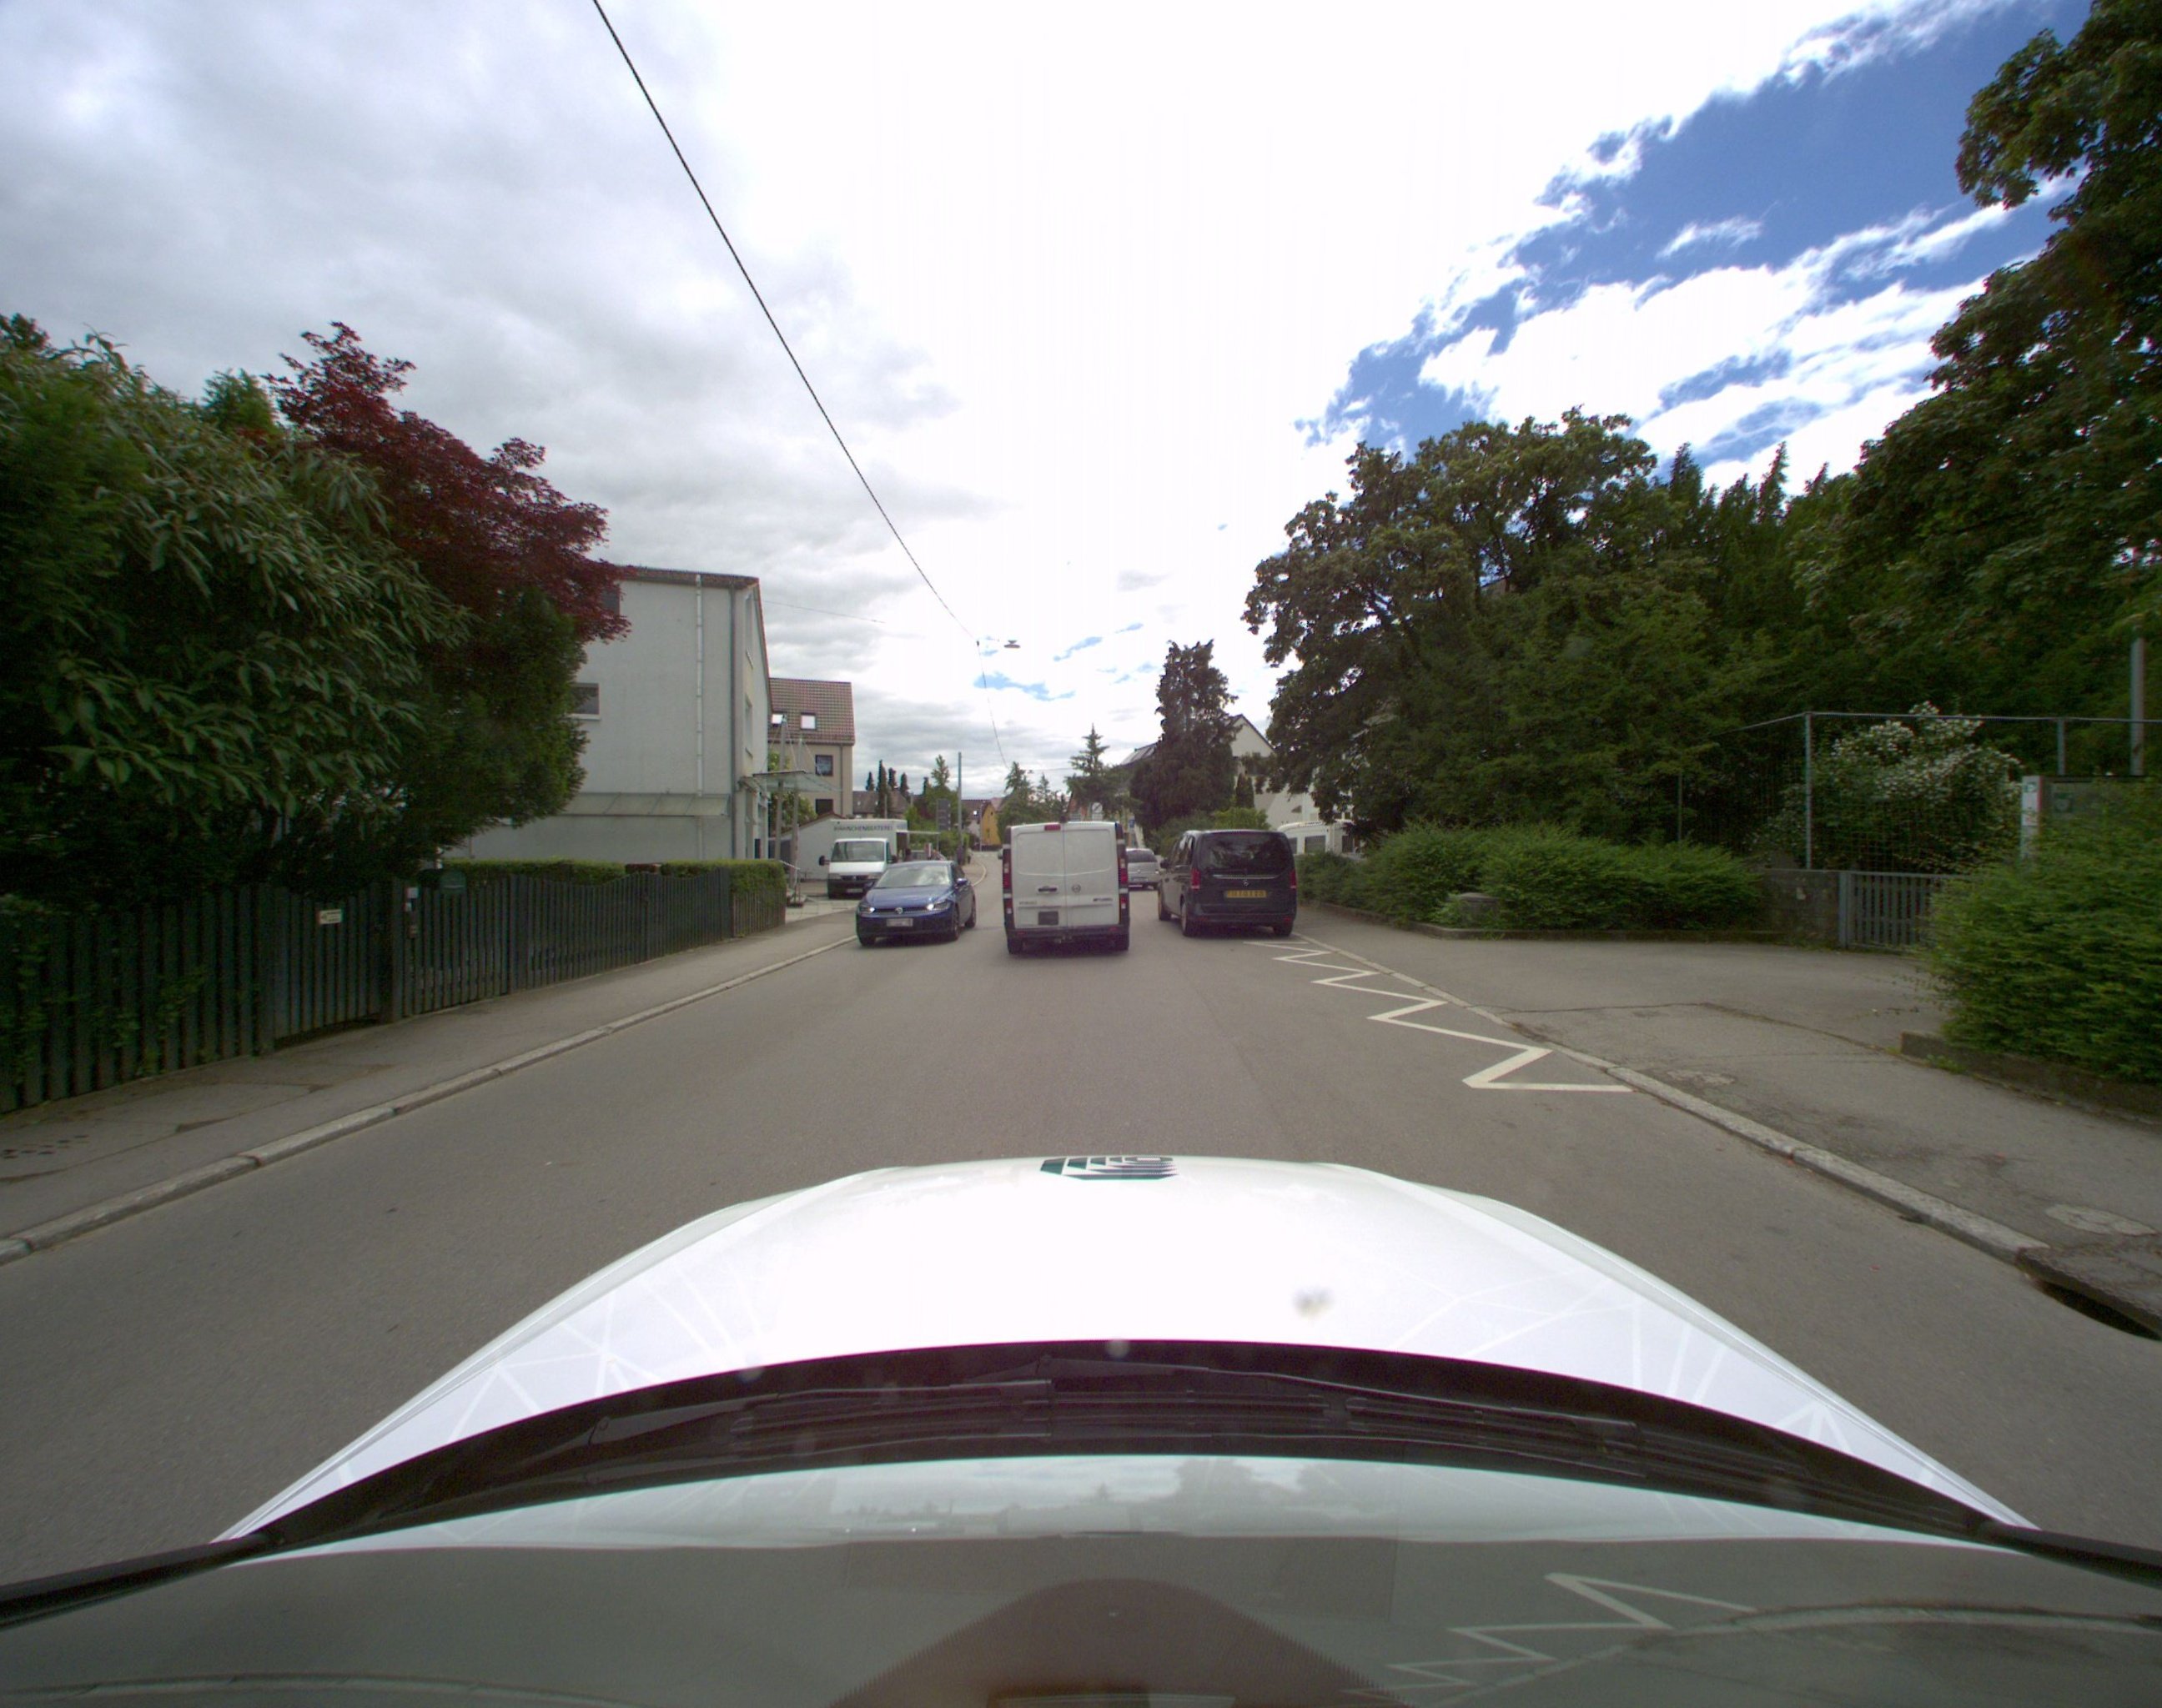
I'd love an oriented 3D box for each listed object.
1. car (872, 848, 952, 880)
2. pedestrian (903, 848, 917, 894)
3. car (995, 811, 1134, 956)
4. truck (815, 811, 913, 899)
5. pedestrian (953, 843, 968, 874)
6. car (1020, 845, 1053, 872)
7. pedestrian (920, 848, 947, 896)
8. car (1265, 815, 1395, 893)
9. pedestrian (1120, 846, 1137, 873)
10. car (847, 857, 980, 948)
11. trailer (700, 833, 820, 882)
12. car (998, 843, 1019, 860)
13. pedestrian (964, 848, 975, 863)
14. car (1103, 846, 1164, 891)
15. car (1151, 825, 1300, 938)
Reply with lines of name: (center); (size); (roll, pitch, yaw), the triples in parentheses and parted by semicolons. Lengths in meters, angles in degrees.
car: (-9.574, 0.571, 46.089); (4.320, 1.695, 1.788); (2, 0, -17)
pedestrian: (-6.350, 0.620, 30.215); (0.400, 1.695, 0.596); (2, 0, -7)
car: (-0.311, 0.414, 13.641); (1.911, 2.002, 4.433); (-1, 0, -2)
truck: (-7.713, 0.016, 29.711); (2.470, 2.840, 6.692); (0, 0, -6)
pedestrian: (-7.814, 0.306, 52.851); (0.731, 1.946, 1.217); (2, 0, -1)
car: (-3.293, 0.338, 59.740); (1.993, 1.848, 3.987); (-1, 0, -10)
pedestrian: (-5.335, 0.649, 29.509); (0.721, 1.687, 1.108); (2, 0, -1)
car: (9.377, -0.002, 31.273); (2.500, 2.682, 5.163); (2, 0, -13)
pedestrian: (2.864, 0.325, 49.495); (0.879, 1.645, 0.856); (2, 0, -4)
car: (-3.044, 0.808, 15.578); (1.689, 1.432, 3.926); (-3, 0, -1)
trailer: (-14.746, 0.131, 37.626); (4.859, 2.080, 1.700); (2, 1, -8)
car: (-8.299, -0.272, 92.891); (1.994, 1.782, 3.987); (-2, 0, -10)
pedestrian: (-10.745, 0.157, 78.622); (0.881, 1.485, 0.451); (2, -1, -30)
car: (1.990, 0.526, 32.013); (1.756, 1.582, 4.011); (-2, 0, -5)
car: (2.596, 0.458, 15.952); (1.904, 1.848, 5.155); (0, 0, -1)
